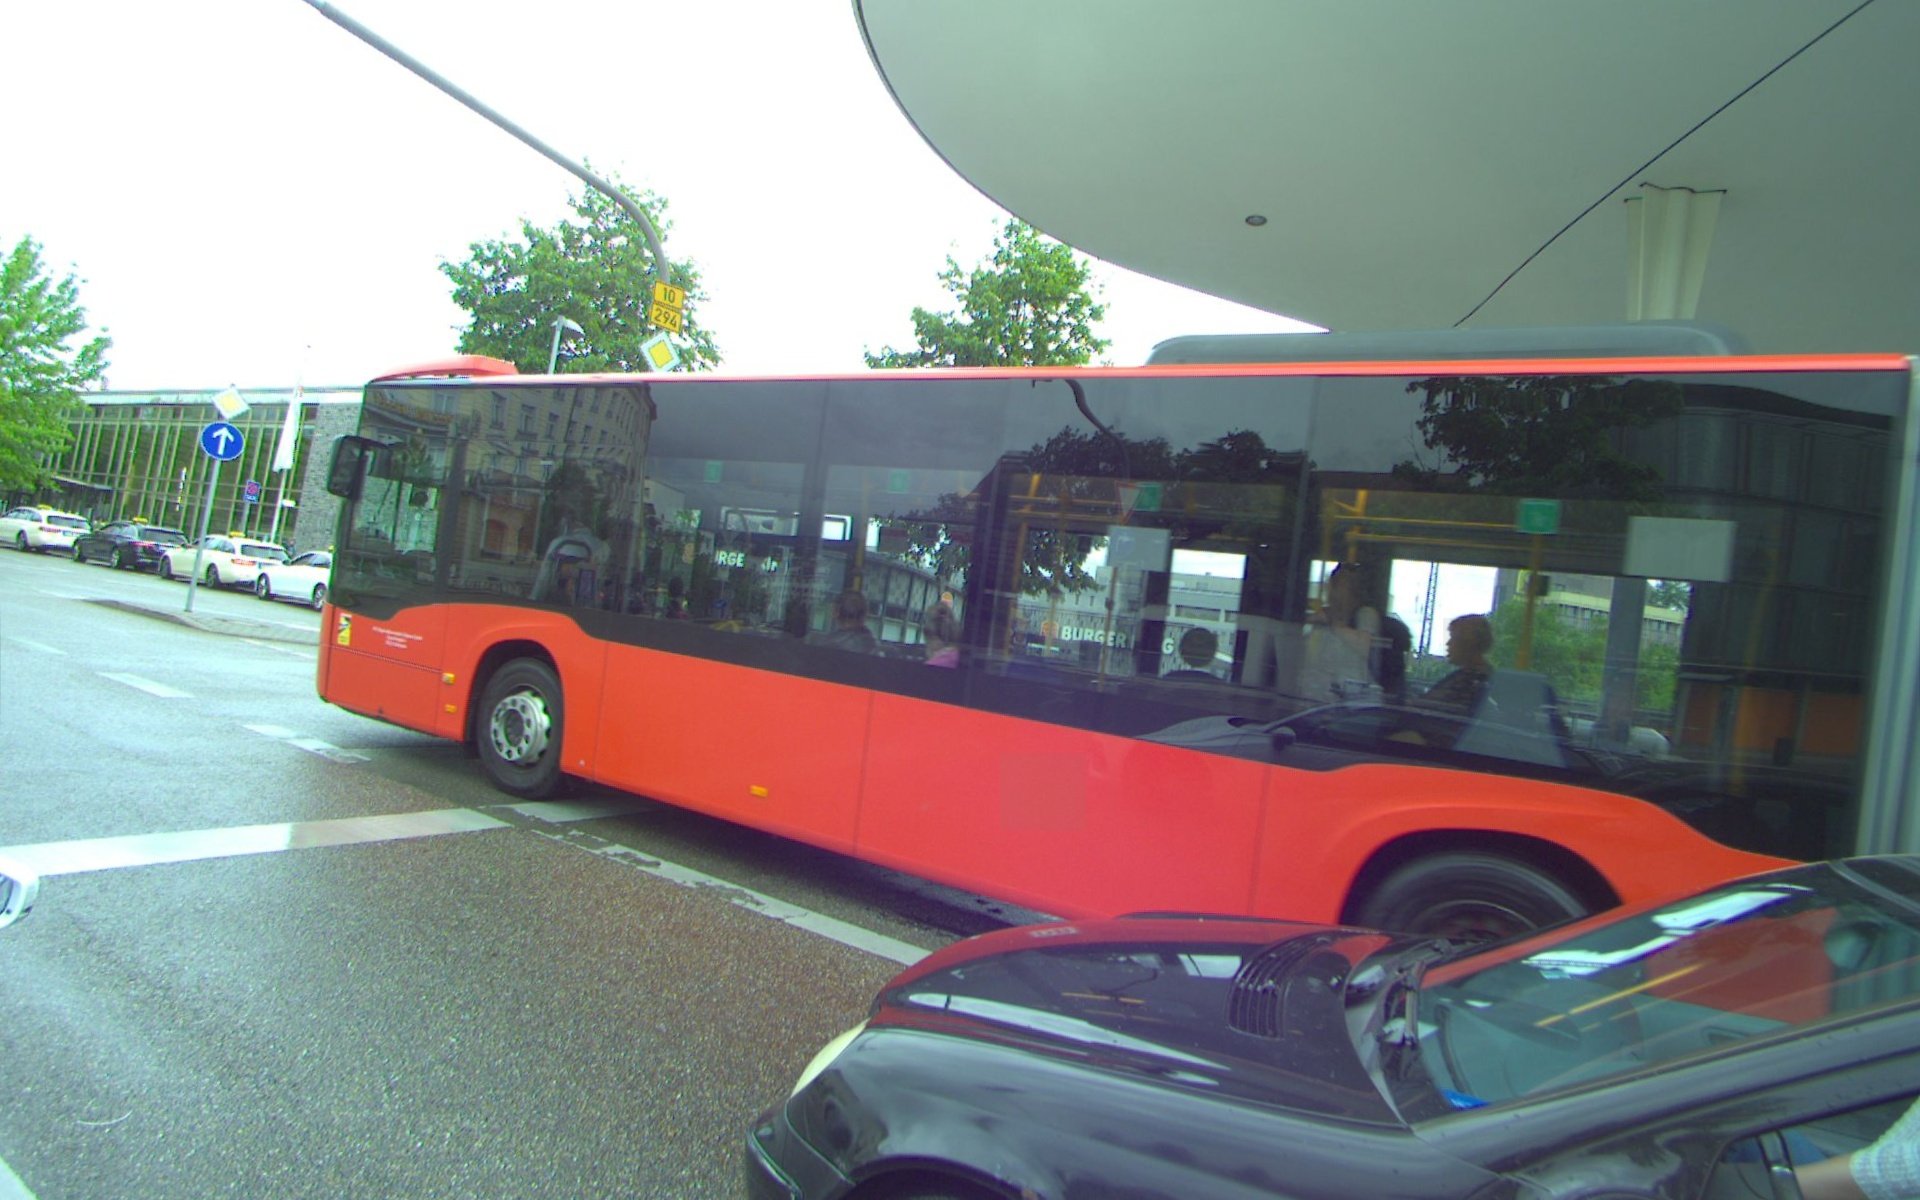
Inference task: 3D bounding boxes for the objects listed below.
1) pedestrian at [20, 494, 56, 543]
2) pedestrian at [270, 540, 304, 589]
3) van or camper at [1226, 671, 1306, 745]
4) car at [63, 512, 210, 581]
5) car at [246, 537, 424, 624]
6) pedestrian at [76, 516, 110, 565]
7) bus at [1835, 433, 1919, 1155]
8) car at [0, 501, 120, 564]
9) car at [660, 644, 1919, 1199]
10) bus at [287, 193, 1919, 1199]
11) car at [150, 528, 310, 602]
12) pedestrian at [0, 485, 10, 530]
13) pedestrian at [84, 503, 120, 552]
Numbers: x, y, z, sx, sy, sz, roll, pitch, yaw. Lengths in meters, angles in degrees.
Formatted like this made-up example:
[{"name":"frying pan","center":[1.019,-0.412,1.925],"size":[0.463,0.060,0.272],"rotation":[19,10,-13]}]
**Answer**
[{"name":"pedestrian","center":[-41.729,-3.686,45.536],"size":[0.814,2.037,0.771],"rotation":[7,-1,30]},{"name":"pedestrian","center":[-24.826,-1.308,37.109],"size":[0.703,1.665,0.565],"rotation":[7,-1,27]},{"name":"van or camper","center":[12.547,4.404,41.008],"size":[2.072,2.491,5.975],"rotation":[7,-3,25]},{"name":"car","center":[-25.832,-1.698,31.522],"size":[4.662,1.542,1.918],"rotation":[7,-2,30]},{"name":"car","center":[-15.847,-0.506,25.452],"size":[4.538,1.608,1.779],"rotation":[7,-2,30]},{"name":"pedestrian","center":[-32.959,-2.271,38.227],"size":[0.703,1.729,0.566],"rotation":[7,-2,27]},{"name":"bus","center":[7.432,1.016,1.974],"size":[7.986,3.210,2.749],"rotation":[7,-2,32]},{"name":"car","center":[-31.427,-2.373,34.533],"size":[4.736,1.618,2.000],"rotation":[7,-2,25]},{"name":"car","center":[1.773,1.140,1.477],"size":[4.362,1.494,1.752],"rotation":[5,-6,31]},{"name":"bus","center":[-0.141,0.045,6.519],"size":[10.024,3.210,2.749],"rotation":[7,-2,31]},{"name":"car","center":[-20.625,-1.003,28.380],"size":[4.588,1.468,1.851],"rotation":[7,-2,30]},{"name":"pedestrian","center":[-52.576,-5.095,54.735],"size":[0.848,2.439,0.844],"rotation":[7,-1,34]},{"name":"pedestrian","center":[-38.269,-3.226,44.872],"size":[0.814,2.037,0.771],"rotation":[7,-1,30]}]
